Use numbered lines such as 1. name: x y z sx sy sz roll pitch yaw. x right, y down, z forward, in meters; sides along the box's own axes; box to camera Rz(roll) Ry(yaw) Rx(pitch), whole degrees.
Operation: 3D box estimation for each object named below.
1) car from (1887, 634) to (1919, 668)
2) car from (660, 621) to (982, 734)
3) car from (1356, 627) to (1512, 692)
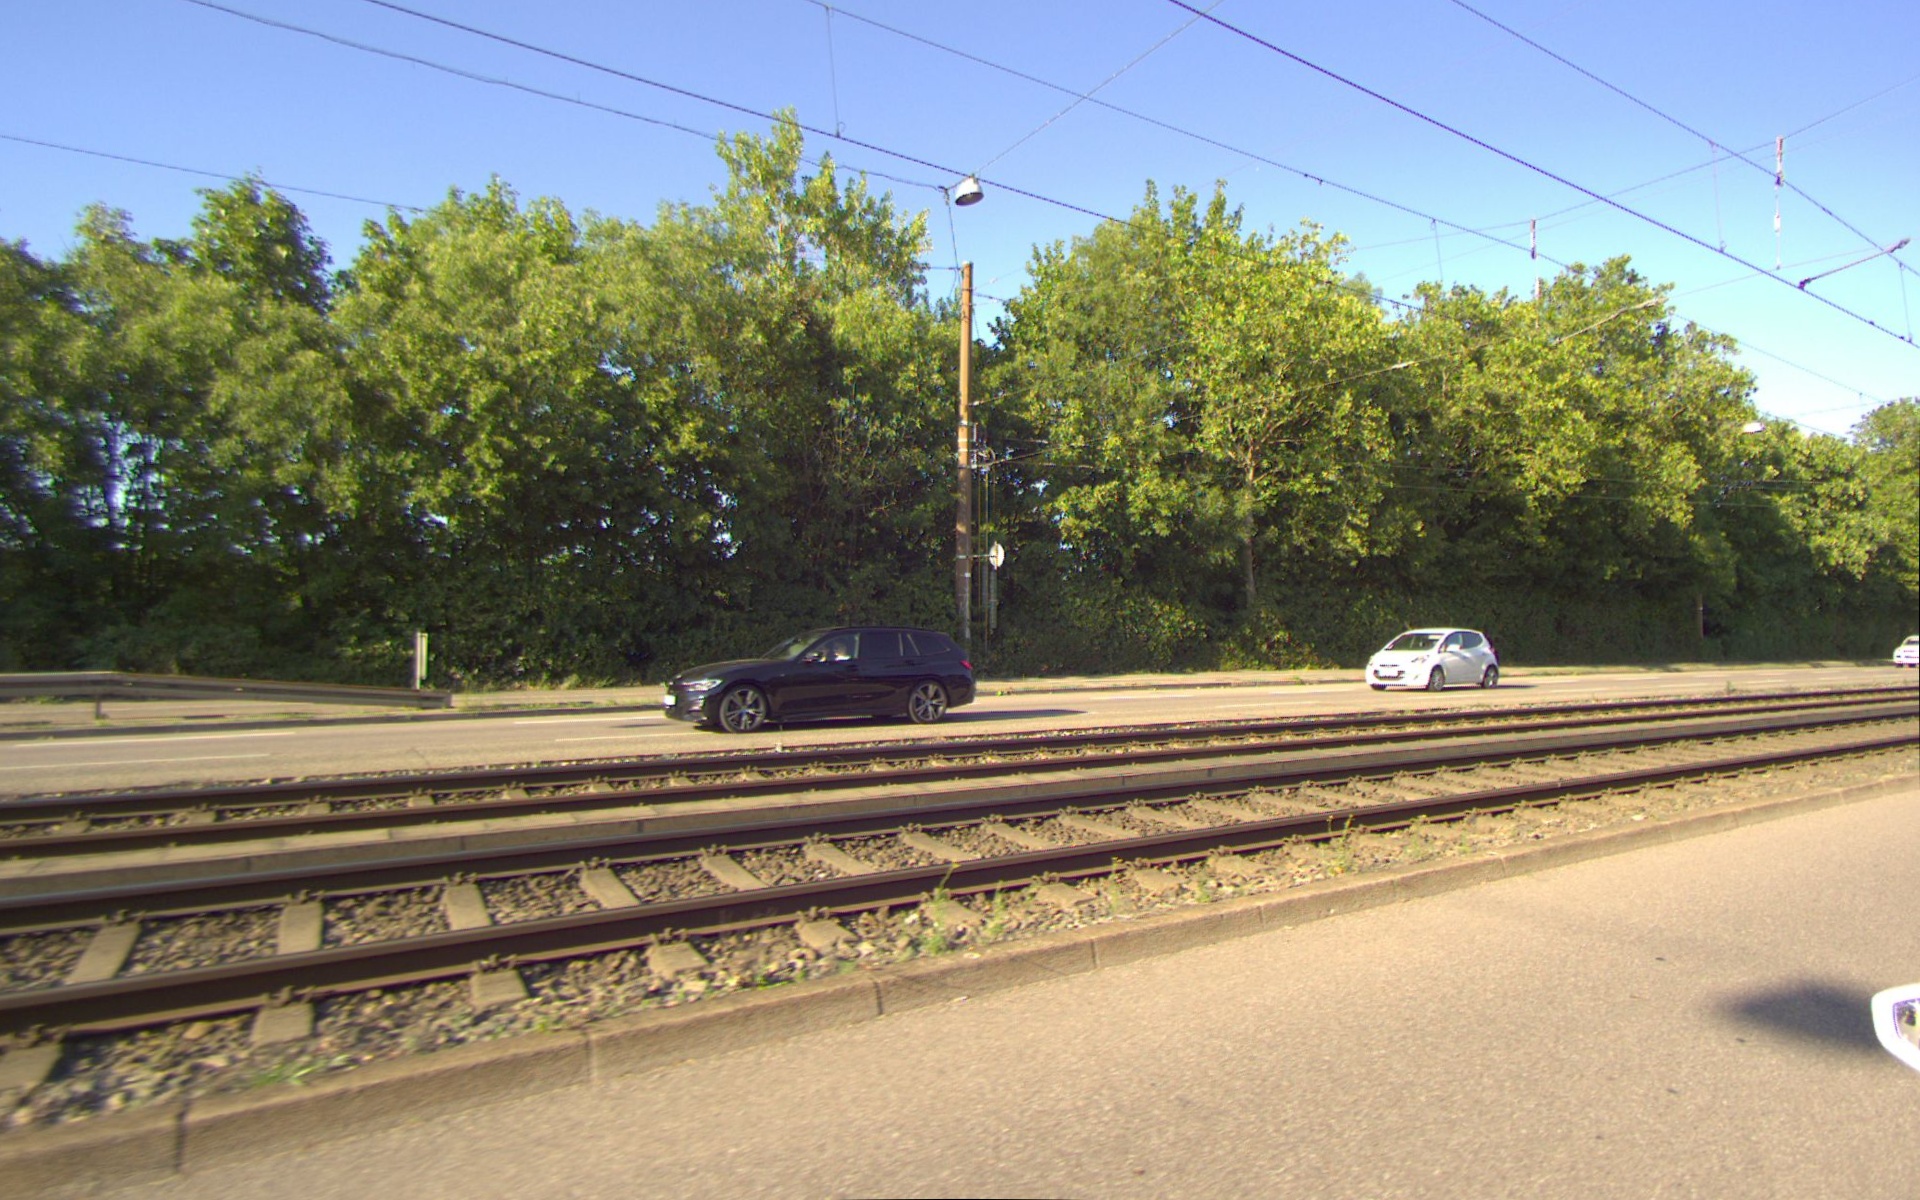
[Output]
1. car: 51.972 2.765 54.183 4.882 1.756 1.835 2 -4 -35
2. car: -1.975 1.101 14.818 4.450 1.451 1.649 2 -4 -31
3. car: 12.443 1.546 26.308 4.143 1.576 1.683 2 -4 -31
